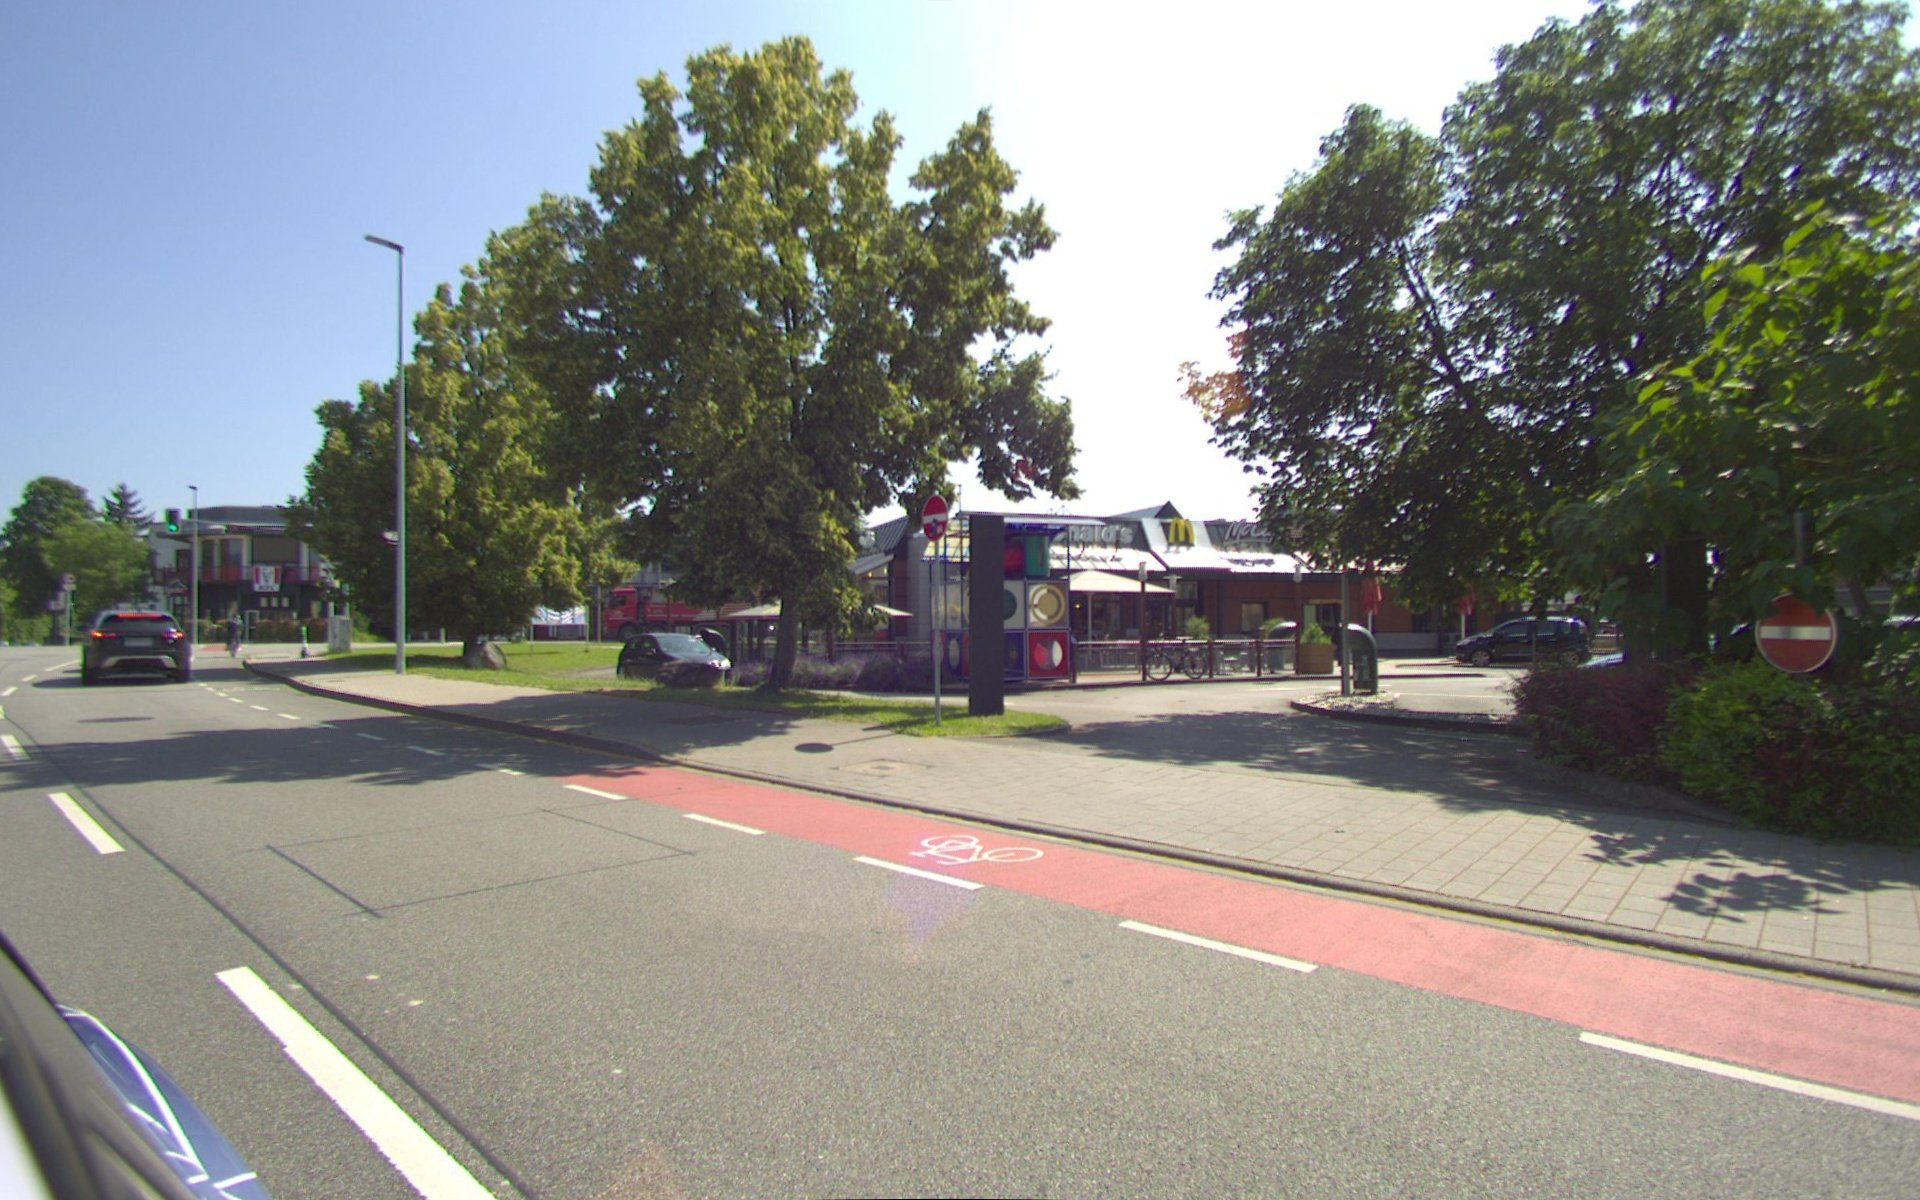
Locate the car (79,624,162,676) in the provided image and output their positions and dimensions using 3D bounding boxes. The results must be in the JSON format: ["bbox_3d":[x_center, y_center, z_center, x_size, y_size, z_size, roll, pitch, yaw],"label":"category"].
[{"bbox_3d":[-23.852,1.392,28.864,1.634,1.391,4.008,1,-2,-37],"label":"car"}]

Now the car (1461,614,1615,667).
[{"bbox_3d":[19.182,1.335,33.806,4.328,1.697,1.758,-1,-2,28],"label":"car"}]

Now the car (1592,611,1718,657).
[{"bbox_3d":[34.924,1.725,51.002,1.965,2.194,4.819,1,-2,-26],"label":"car"}]

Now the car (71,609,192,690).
[{"bbox_3d":[-19.427,1.108,23.654,1.926,1.708,4.618,2,-2,-42],"label":"car"}]

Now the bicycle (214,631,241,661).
[{"bbox_3d":[-28.438,1.774,39.305,0.687,1.113,1.760,3,-3,-33],"label":"bicycle"}]

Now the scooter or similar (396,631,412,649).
[{"bbox_3d":[-35.686,2.559,64.996,0.492,1.132,1.508,0,-2,-13],"label":"scooter or similar"}]

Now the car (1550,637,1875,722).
[{"bbox_3d":[12.286,1.270,16.810,3.962,1.295,1.601,-1,-2,15],"label":"car"}]

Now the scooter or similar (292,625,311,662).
[{"bbox_3d":[-22.227,1.460,34.162,0.465,1.193,1.369,1,-2,-35],"label":"scooter or similar"}]

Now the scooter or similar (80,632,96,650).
[{"bbox_3d":[-54.415,2.548,63.147,0.420,1.132,1.456,1,-2,-27],"label":"scooter or similar"}]

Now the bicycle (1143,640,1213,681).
[{"bbox_3d":[5.479,1.510,25.389,1.826,1.000,0.309,1,-2,-19],"label":"bicycle"}]

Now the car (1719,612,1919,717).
[{"bbox_3d":[16.110,1.098,17.654,4.216,1.748,1.707,-1,-2,20],"label":"car"}]

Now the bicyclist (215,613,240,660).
[{"bbox_3d":[-28.434,1.409,39.288,0.700,1.802,0.811,1,-2,-32],"label":"bicyclist"}]

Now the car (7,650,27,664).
[{"bbox_3d":[-109.750,6.663,117.794,1.648,1.544,4.004,2,-2,-43],"label":"car"}]

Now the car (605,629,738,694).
[{"bbox_3d":[-7.676,1.564,26.654,1.836,1.564,4.195,1,-2,-40],"label":"car"}]

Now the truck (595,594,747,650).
[{"bbox_3d":[-18.480,1.431,64.708,9.009,3.412,3.325,0,-2,-22],"label":"truck"}]
